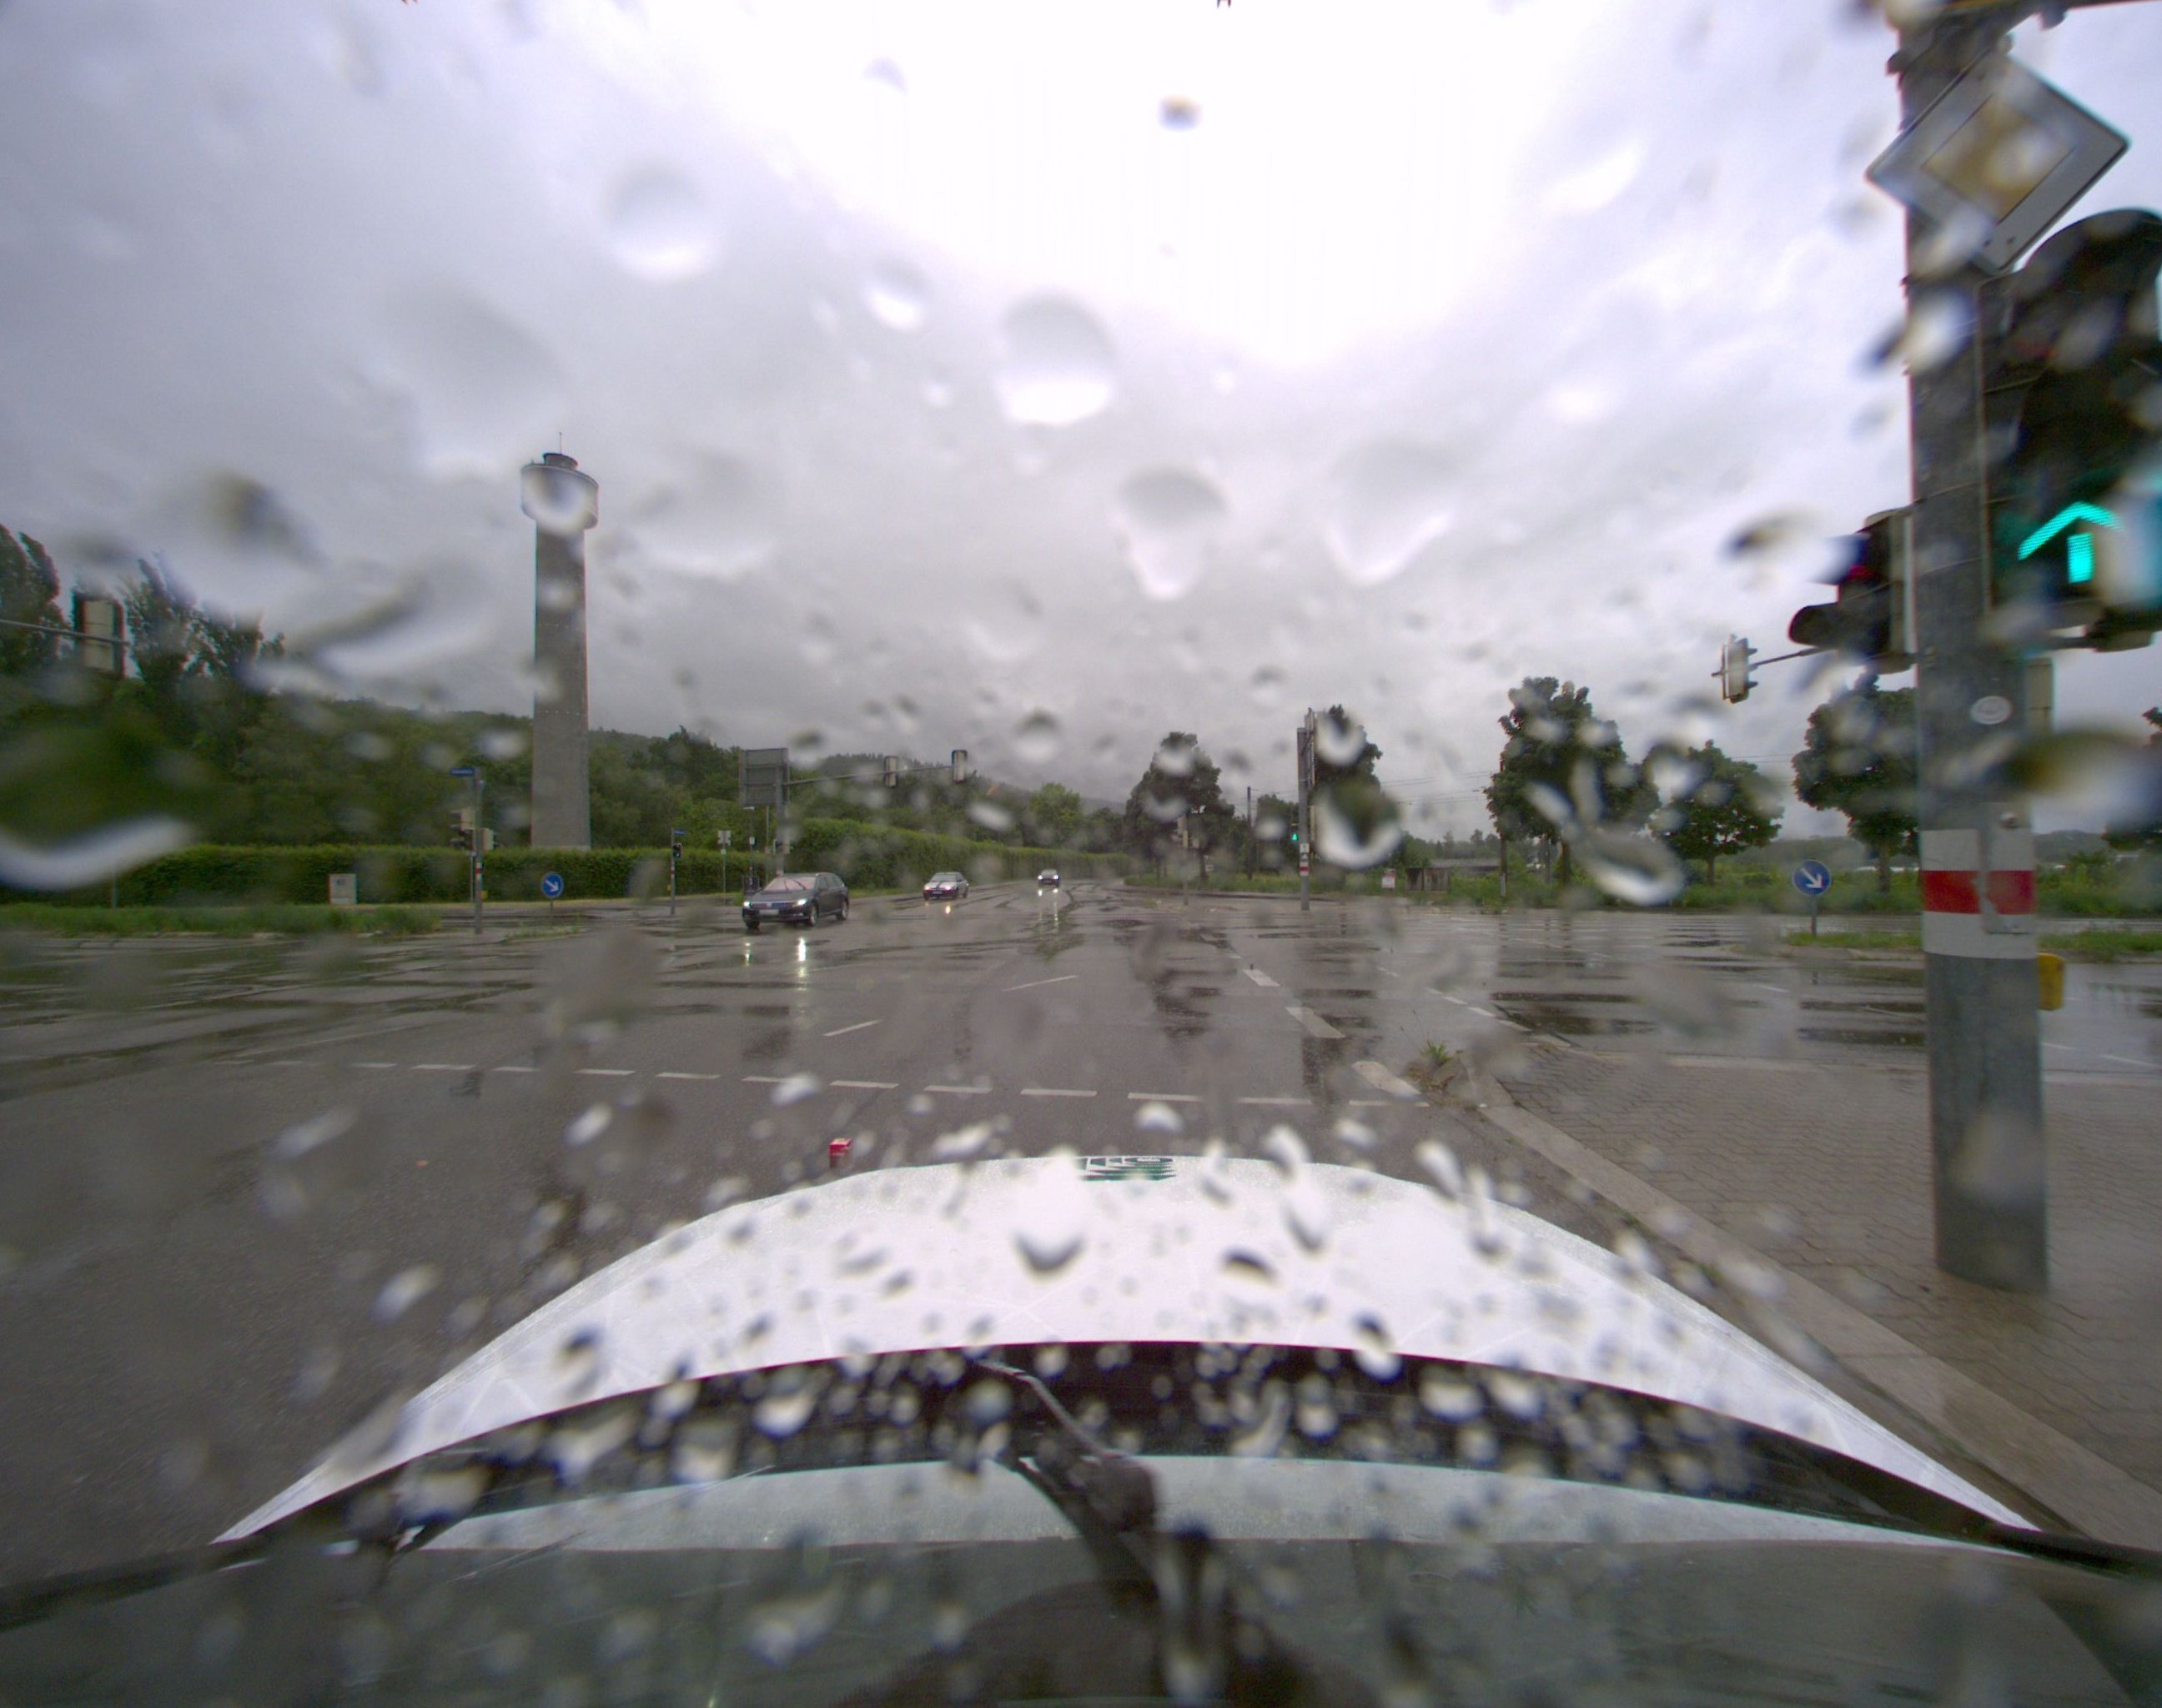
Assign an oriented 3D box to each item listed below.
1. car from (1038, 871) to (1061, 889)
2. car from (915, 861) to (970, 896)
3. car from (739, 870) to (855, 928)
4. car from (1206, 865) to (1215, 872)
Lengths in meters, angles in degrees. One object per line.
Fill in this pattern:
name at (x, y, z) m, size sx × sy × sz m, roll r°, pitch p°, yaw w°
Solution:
car at (-2.722, 2.228, 70.685) m, size 1.779 × 1.505 × 4.060 m, roll -1°, pitch 0°, yaw 0°
car at (-7.155, 1.241, 42.420) m, size 2.029 × 1.708 × 4.067 m, roll -1°, pitch 0°, yaw 2°
car at (-8.003, 1.204, 23.378) m, size 1.703 × 1.466 × 4.452 m, roll -1°, pitch -1°, yaw 1°
car at (35.561, 3.924, 223.670) m, size 1.939 × 1.904 × 4.137 m, roll -1°, pitch -1°, yaw 15°
